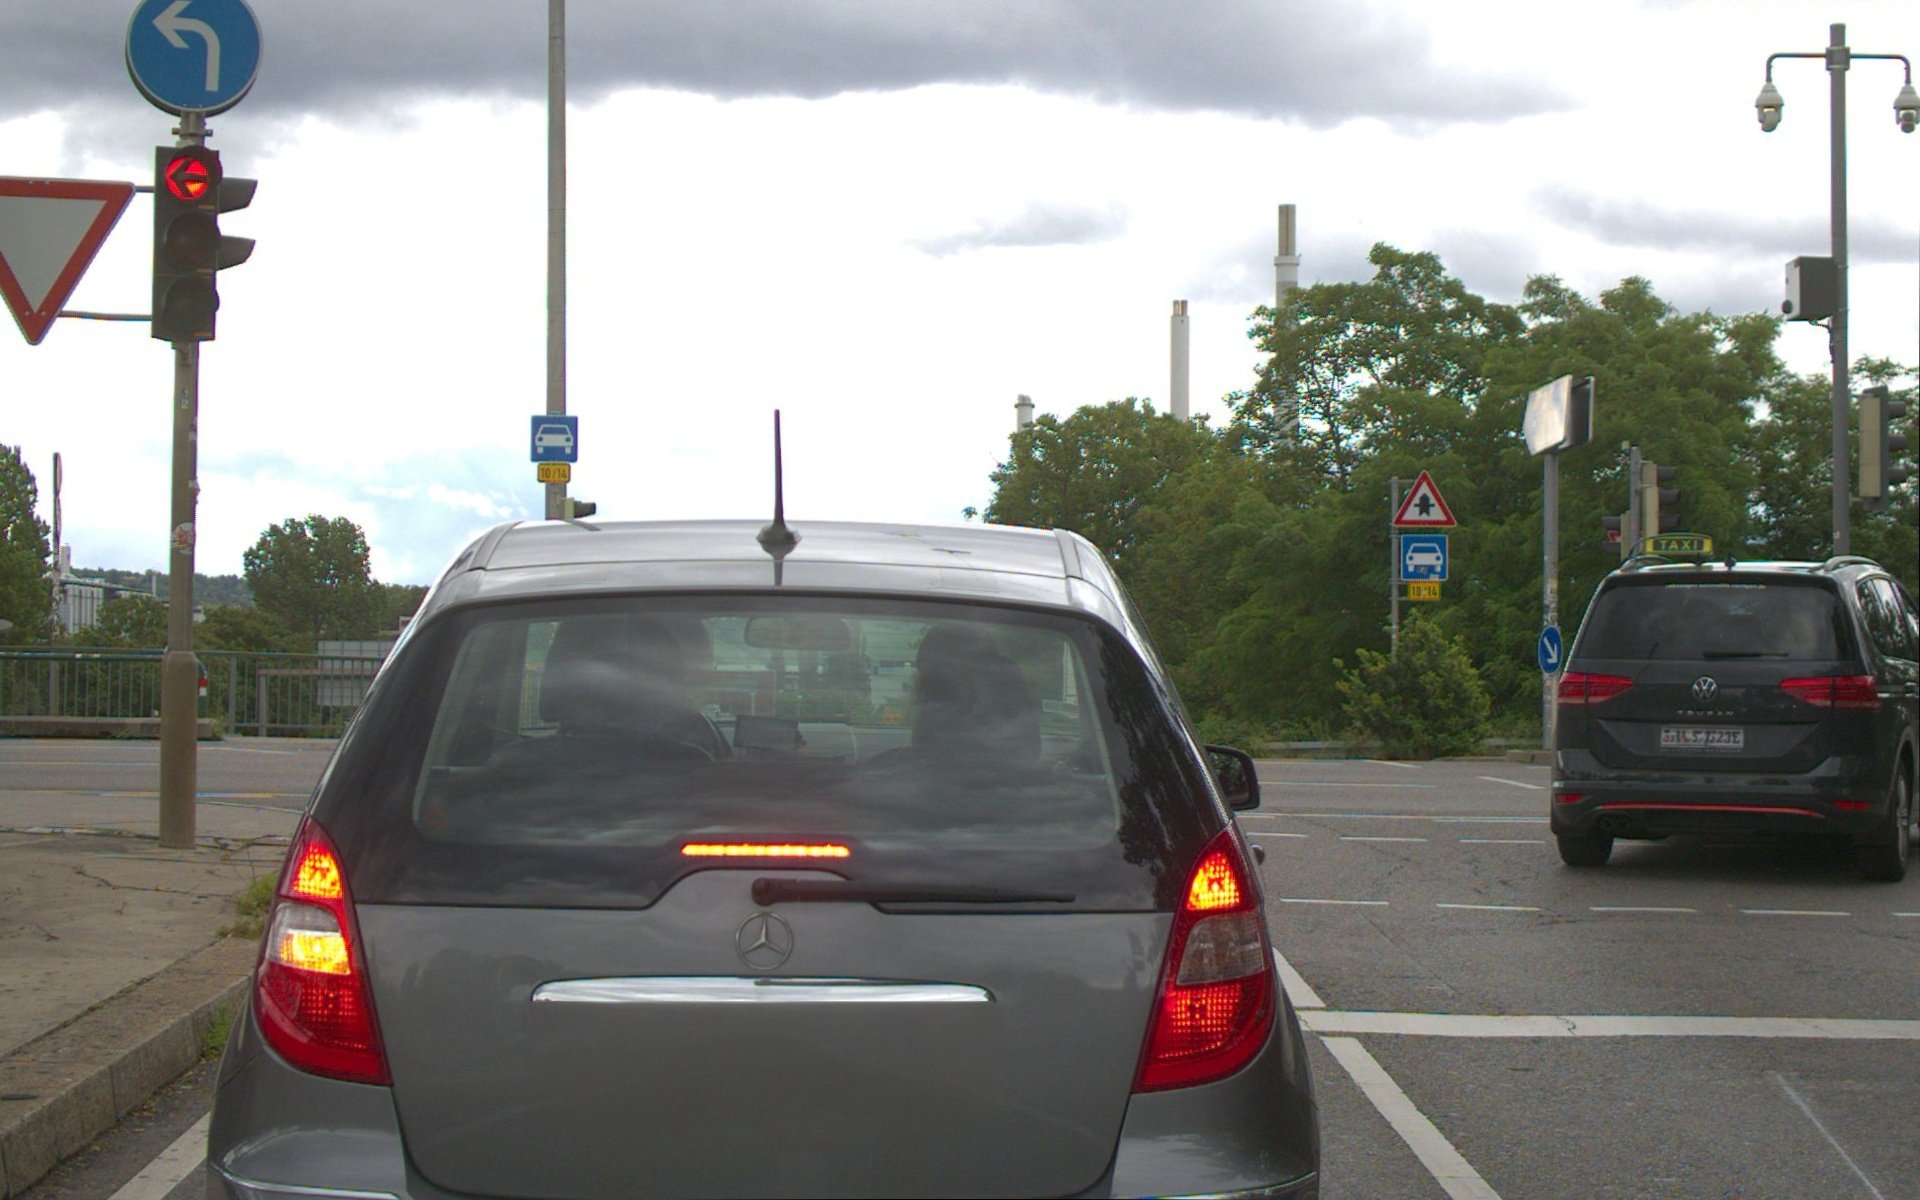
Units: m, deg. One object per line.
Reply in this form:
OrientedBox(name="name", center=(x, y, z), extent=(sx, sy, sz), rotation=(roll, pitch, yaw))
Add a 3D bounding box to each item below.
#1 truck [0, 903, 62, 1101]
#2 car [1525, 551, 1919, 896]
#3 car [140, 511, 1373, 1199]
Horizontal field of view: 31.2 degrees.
OrientedBox(name="truck", center=(-16.961, 6.774, 57.137), extent=(2.233, 2.999, 7.231), rotation=(0, -2, 0))
OrientedBox(name="car", center=(4.459, 0.584, 18.889), extent=(1.798, 1.647, 4.146), rotation=(1, 1, 22))
OrientedBox(name="car", center=(-0.307, 0.636, 6.659), extent=(1.739, 1.538, 3.541), rotation=(1, 1, 0))
